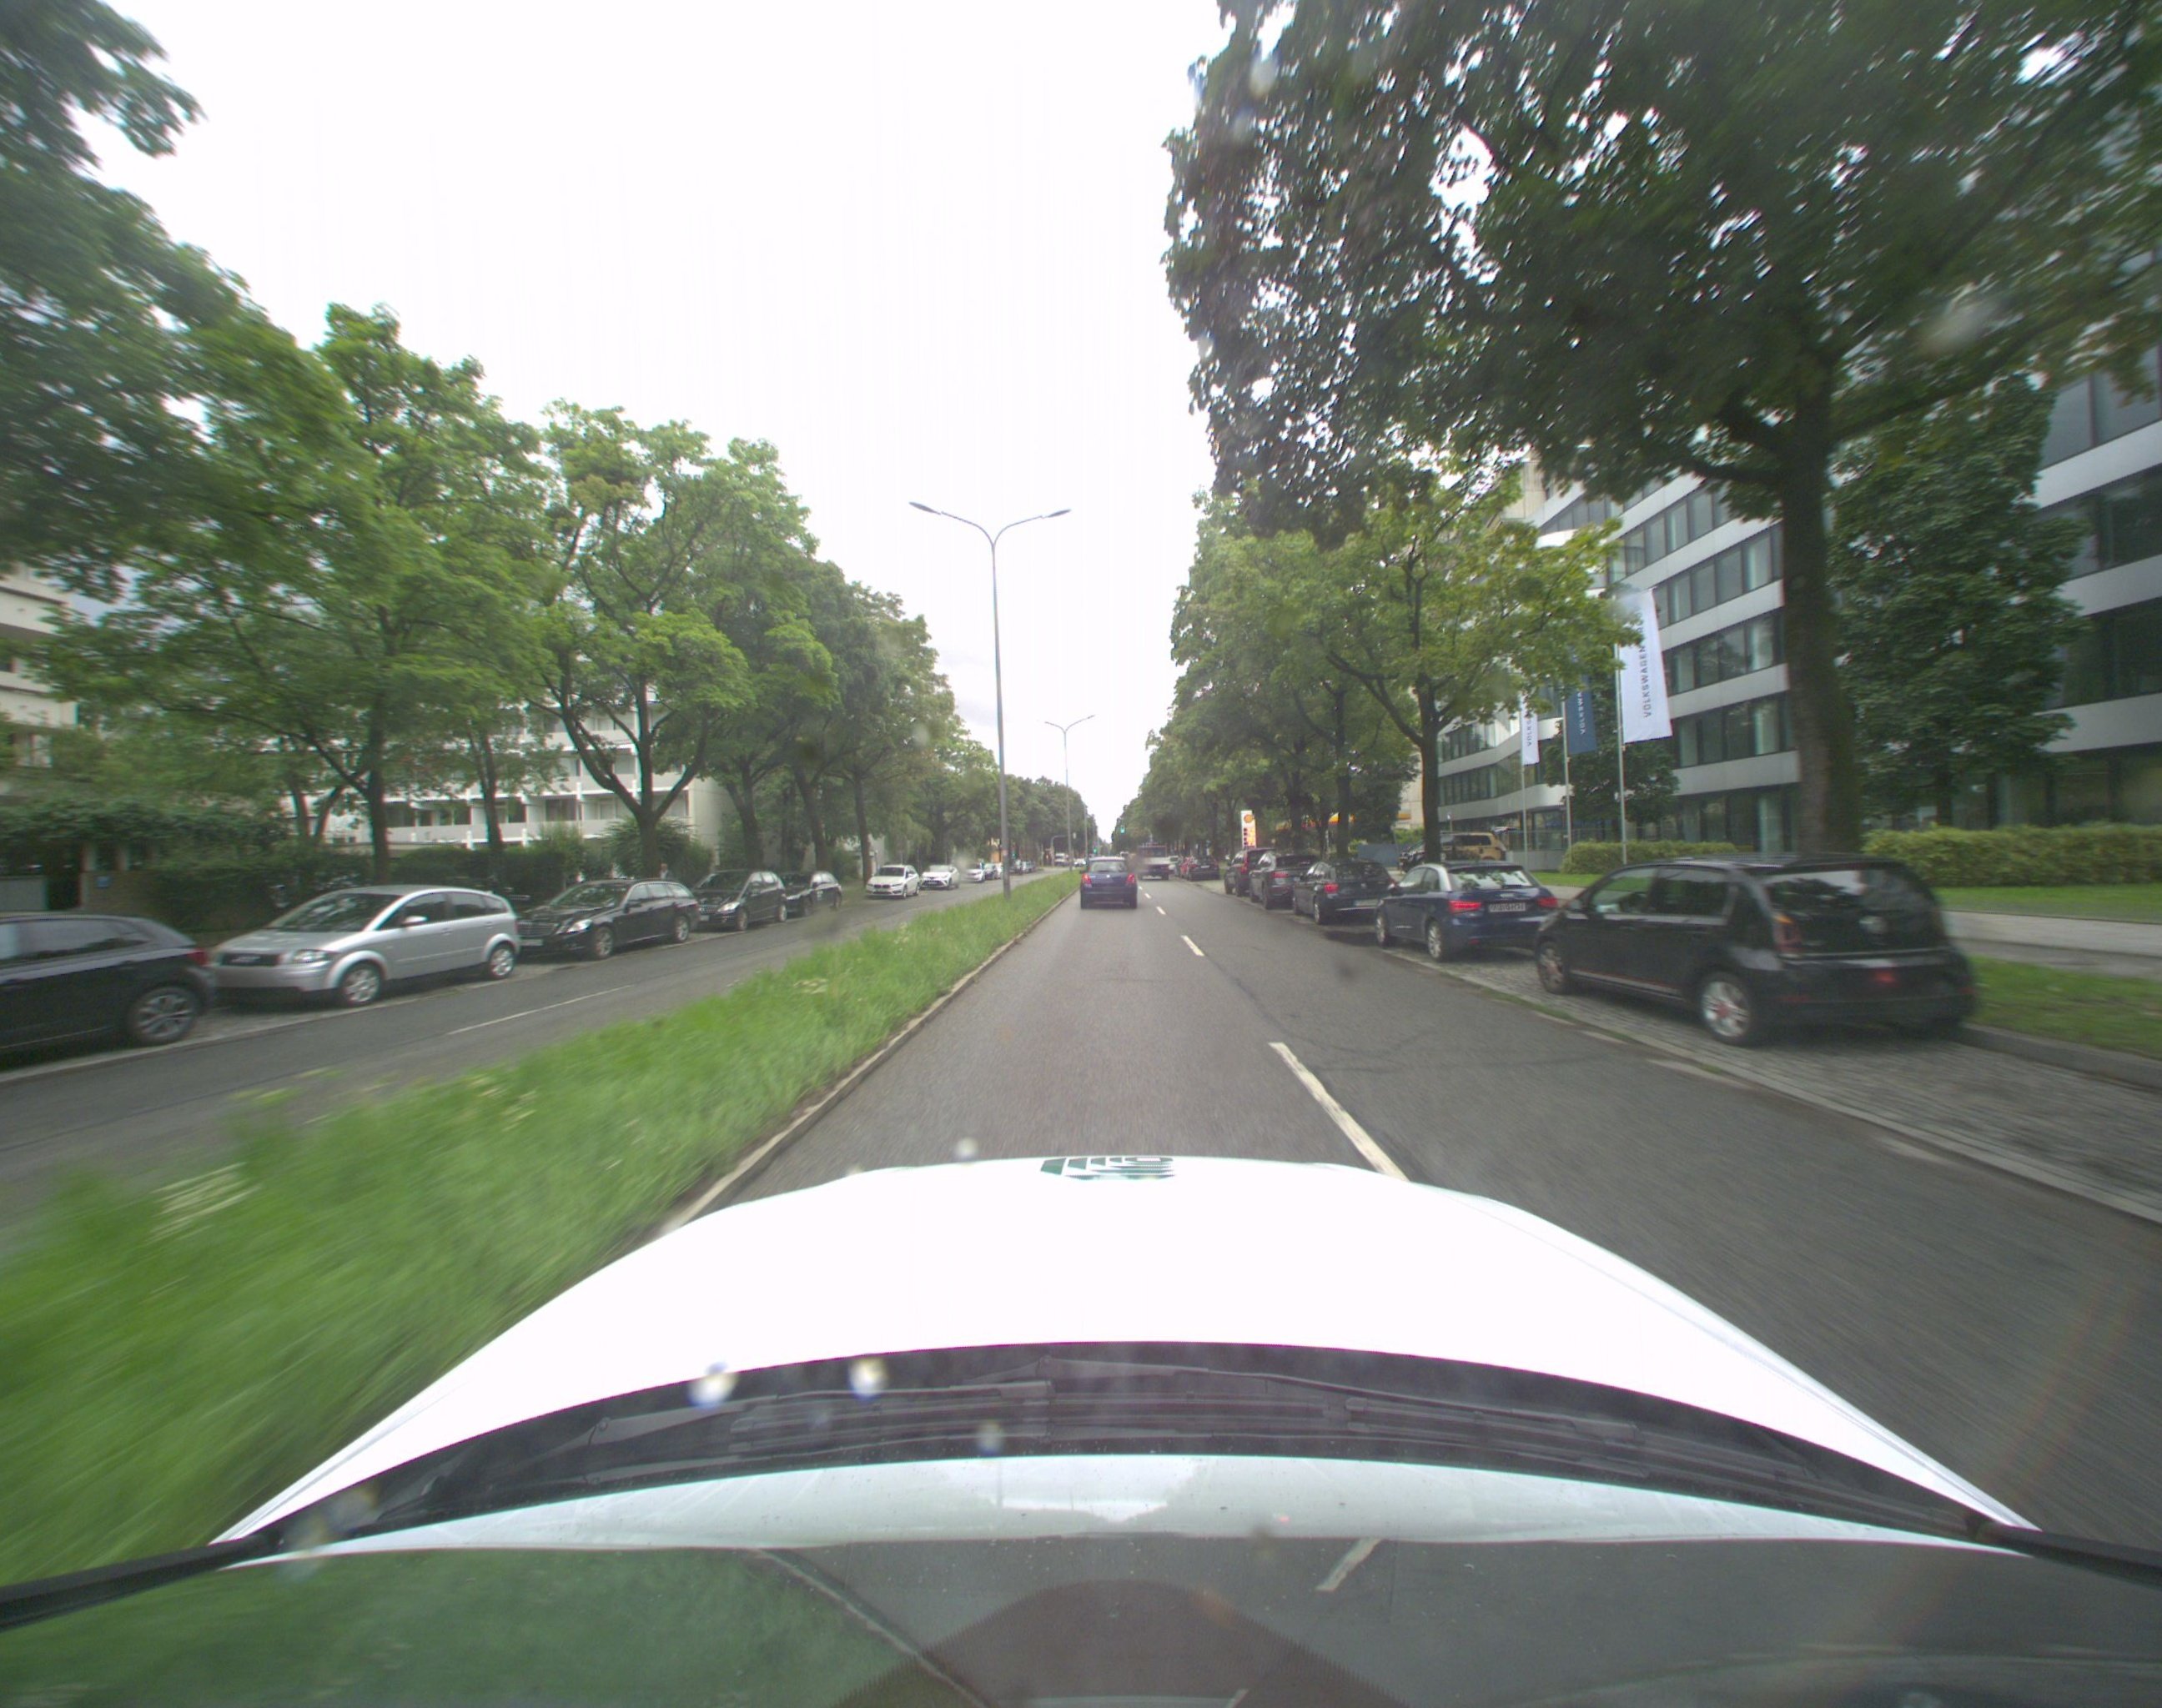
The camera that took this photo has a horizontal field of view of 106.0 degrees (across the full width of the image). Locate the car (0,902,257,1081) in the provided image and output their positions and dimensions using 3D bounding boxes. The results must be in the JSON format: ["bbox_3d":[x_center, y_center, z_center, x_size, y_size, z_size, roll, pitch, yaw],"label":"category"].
[{"bbox_3d":[-10.273,1.267,7.164,1.619,1.423,4.195,1,0,3],"label":"car"}]

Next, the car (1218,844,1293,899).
[{"bbox_3d":[6.497,0.614,30.822,1.885,1.800,4.863,-3,0,2],"label":"car"}]

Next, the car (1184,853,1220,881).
[{"bbox_3d":[7.387,0.769,50.055,1.771,1.511,4.289,-4,0,4],"label":"car"}]

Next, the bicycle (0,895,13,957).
[{"bbox_3d":[-22.297,1.468,15.908,1.855,1.226,0.530,-2,-1,-10],"label":"bicycle"}]

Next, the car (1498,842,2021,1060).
[{"bbox_3d":[5.764,0.683,7.696,1.695,1.446,3.981,-3,0,2],"label":"car"}]

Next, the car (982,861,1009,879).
[{"bbox_3d":[-7.615,1.418,72.921,1.668,1.443,4.323,1,0,3],"label":"car"}]

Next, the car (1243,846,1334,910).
[{"bbox_3d":[6.172,0.652,24.758,1.805,1.675,4.805,-3,0,4],"label":"car"}]

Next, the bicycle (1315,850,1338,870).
[{"bbox_3d":[14.805,0.357,49.234,0.745,1.183,2.248,-2,0,2],"label":"bicycle"}]

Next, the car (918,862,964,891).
[{"bbox_3d":[-8.416,1.331,49.343,1.825,1.609,4.494,0,0,3],"label":"car"}]

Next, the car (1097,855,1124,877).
[{"bbox_3d":[2.153,0.883,59.535,1.792,1.499,3.662,-2,0,2],"label":"car"}]

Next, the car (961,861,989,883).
[{"bbox_3d":[-8.116,1.353,62.403,1.685,1.565,3.079,1,0,0],"label":"car"}]

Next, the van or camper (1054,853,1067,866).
[{"bbox_3d":[-4.012,1.133,161.259,2.131,2.476,6.262,-3,0,2],"label":"van or camper"}]

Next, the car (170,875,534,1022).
[{"bbox_3d":[-10.081,1.182,11.738,1.619,1.648,3.870,1,0,3],"label":"car"}]

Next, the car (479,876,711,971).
[{"bbox_3d":[-9.832,1.313,17.080,1.709,1.524,5.036,1,0,2],"label":"car"}]

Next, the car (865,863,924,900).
[{"bbox_3d":[-8.961,1.286,39.449,1.751,1.595,4.490,0,0,1],"label":"car"}]

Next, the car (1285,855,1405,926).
[{"bbox_3d":[6.112,0.782,19.386,1.694,1.408,4.518,-3,0,5],"label":"car"}]

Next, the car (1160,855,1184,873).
[{"bbox_3d":[8.149,0.873,73.187,1.754,1.453,4.635,-4,0,2],"label":"car"}]

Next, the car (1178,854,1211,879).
[{"bbox_3d":[7.553,0.810,54.516,1.669,1.501,4.023,-4,0,2],"label":"car"}]

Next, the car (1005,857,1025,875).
[{"bbox_3d":[-6.993,1.224,86.379,1.791,1.763,5.054,1,0,-2],"label":"car"}]

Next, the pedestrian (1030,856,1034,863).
[{"bbox_3d":[-10.545,1.110,174.823,0.626,1.440,0.807,0,-1,2],"label":"pedestrian"}]

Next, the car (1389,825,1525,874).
[{"bbox_3d":[17.829,-0.211,38.788,5.450,2.083,2.147,-2,0,1],"label":"car"}]

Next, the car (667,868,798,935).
[{"bbox_3d":[-9.559,1.239,22.738,1.678,1.597,4.213,0,0,3],"label":"car"}]

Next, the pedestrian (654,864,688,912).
[{"bbox_3d":[-14.760,1.206,29.330,0.846,1.656,0.608,-2,-1,-1],"label":"pedestrian"}]

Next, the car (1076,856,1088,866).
[{"bbox_3d":[0.214,1.158,131.969,1.732,1.440,4.217,-3,0,2],"label":"car"}]

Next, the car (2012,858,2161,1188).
[{"bbox_3d":[5.446,0.713,1.935,1.695,1.397,4.235,-3,0,2],"label":"car"}]

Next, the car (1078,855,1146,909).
[{"bbox_3d":[0.888,0.799,25.011,1.891,1.499,3.658,-1,0,-1],"label":"car"}]

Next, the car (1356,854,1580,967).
[{"bbox_3d":[5.840,0.750,12.896,1.695,1.421,4.123,-3,0,2],"label":"car"}]

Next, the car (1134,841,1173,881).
[{"bbox_3d":[4.670,0.420,53.167,2.408,2.444,5.091,-1,0,4],"label":"car"}]

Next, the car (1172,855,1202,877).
[{"bbox_3d":[7.651,0.822,58.941,1.669,1.453,4.584,-4,0,2],"label":"car"}]

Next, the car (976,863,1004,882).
[{"bbox_3d":[-7.511,1.549,67.813,1.668,1.475,4.217,1,0,2],"label":"car"}]

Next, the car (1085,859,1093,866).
[{"bbox_3d":[1.749,1.798,178.740,1.731,1.442,4.104,-3,0,1],"label":"car"}]

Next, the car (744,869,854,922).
[{"bbox_3d":[-9.360,1.325,27.489,1.753,1.513,4.951,0,0,3],"label":"car"}]
